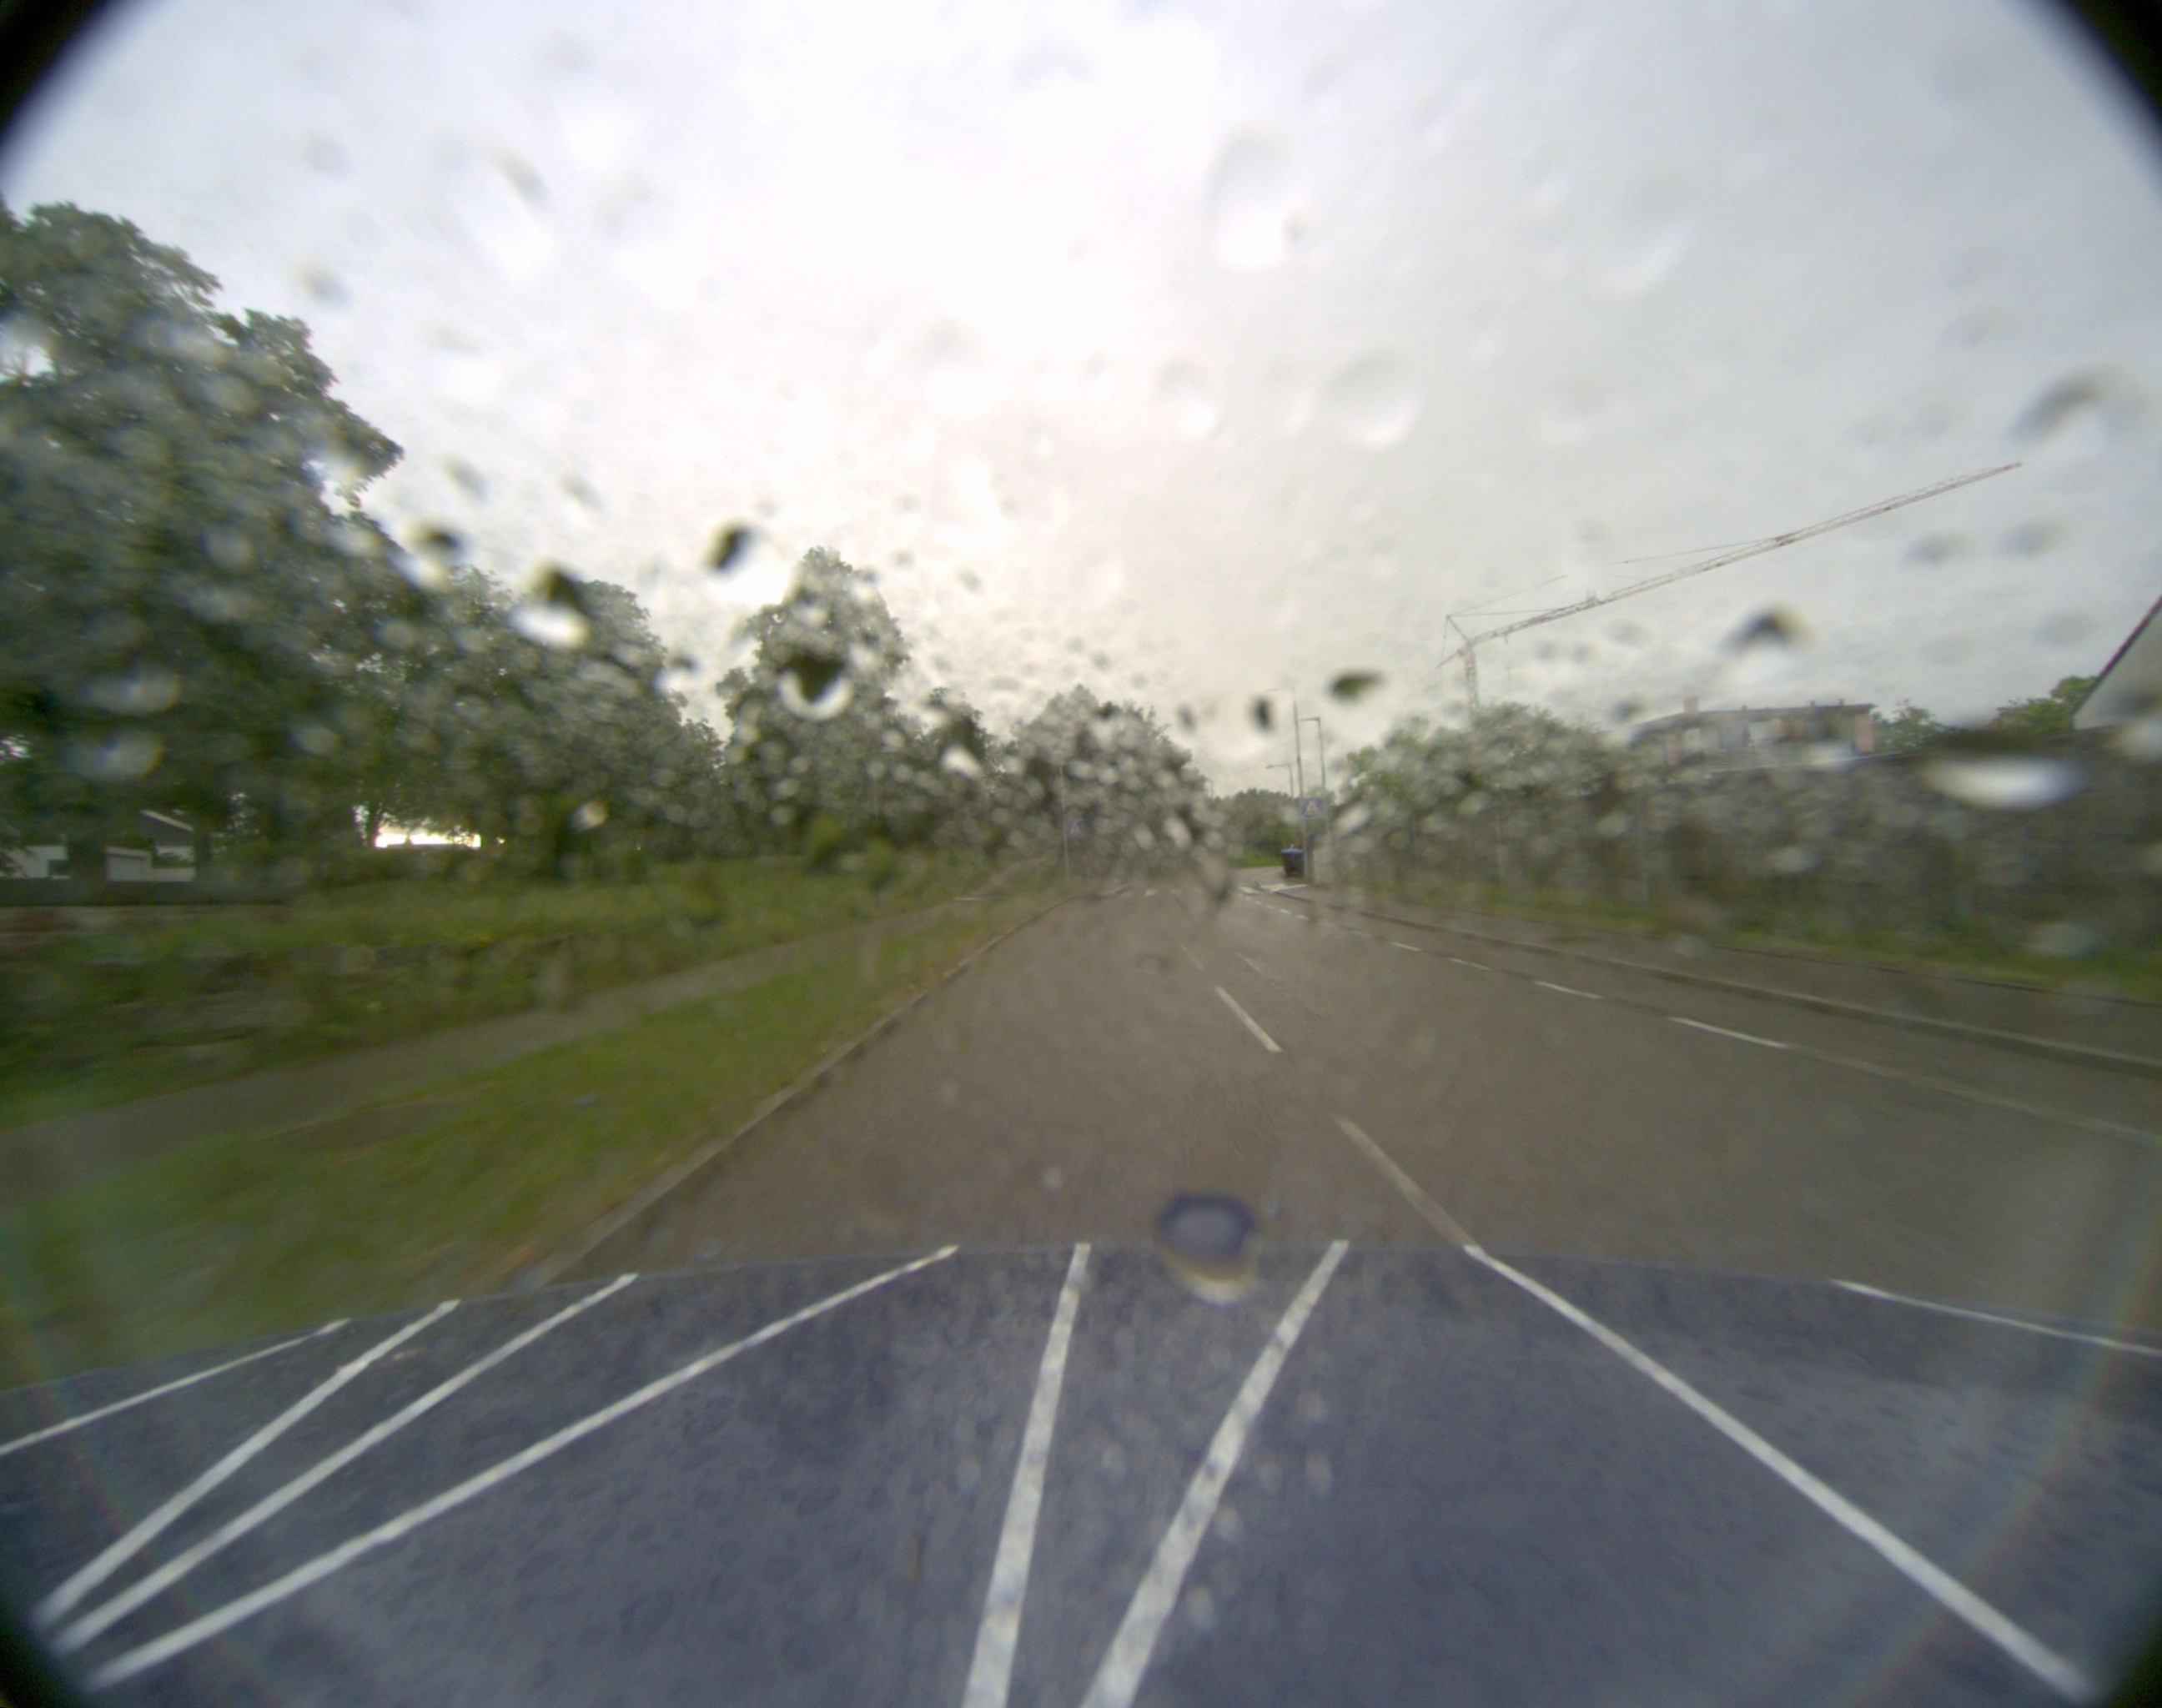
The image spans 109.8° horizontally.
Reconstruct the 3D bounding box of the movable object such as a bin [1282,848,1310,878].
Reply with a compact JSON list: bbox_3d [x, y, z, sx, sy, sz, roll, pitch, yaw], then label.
[{"bbox_3d":[10.684,0.440,37.818,1.133,1.314,1.363,-7,-1,11],"label":"movable object such as a bin"}]

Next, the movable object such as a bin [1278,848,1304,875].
[{"bbox_3d":[11.432,0.421,41.337,1.133,1.331,1.400,-6,-1,12],"label":"movable object such as a bin"}]

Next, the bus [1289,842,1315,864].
[{"bbox_3d":[32.400,-0.157,111.328,2.643,3.014,7.677,-3,0,23],"label":"bus"}]
